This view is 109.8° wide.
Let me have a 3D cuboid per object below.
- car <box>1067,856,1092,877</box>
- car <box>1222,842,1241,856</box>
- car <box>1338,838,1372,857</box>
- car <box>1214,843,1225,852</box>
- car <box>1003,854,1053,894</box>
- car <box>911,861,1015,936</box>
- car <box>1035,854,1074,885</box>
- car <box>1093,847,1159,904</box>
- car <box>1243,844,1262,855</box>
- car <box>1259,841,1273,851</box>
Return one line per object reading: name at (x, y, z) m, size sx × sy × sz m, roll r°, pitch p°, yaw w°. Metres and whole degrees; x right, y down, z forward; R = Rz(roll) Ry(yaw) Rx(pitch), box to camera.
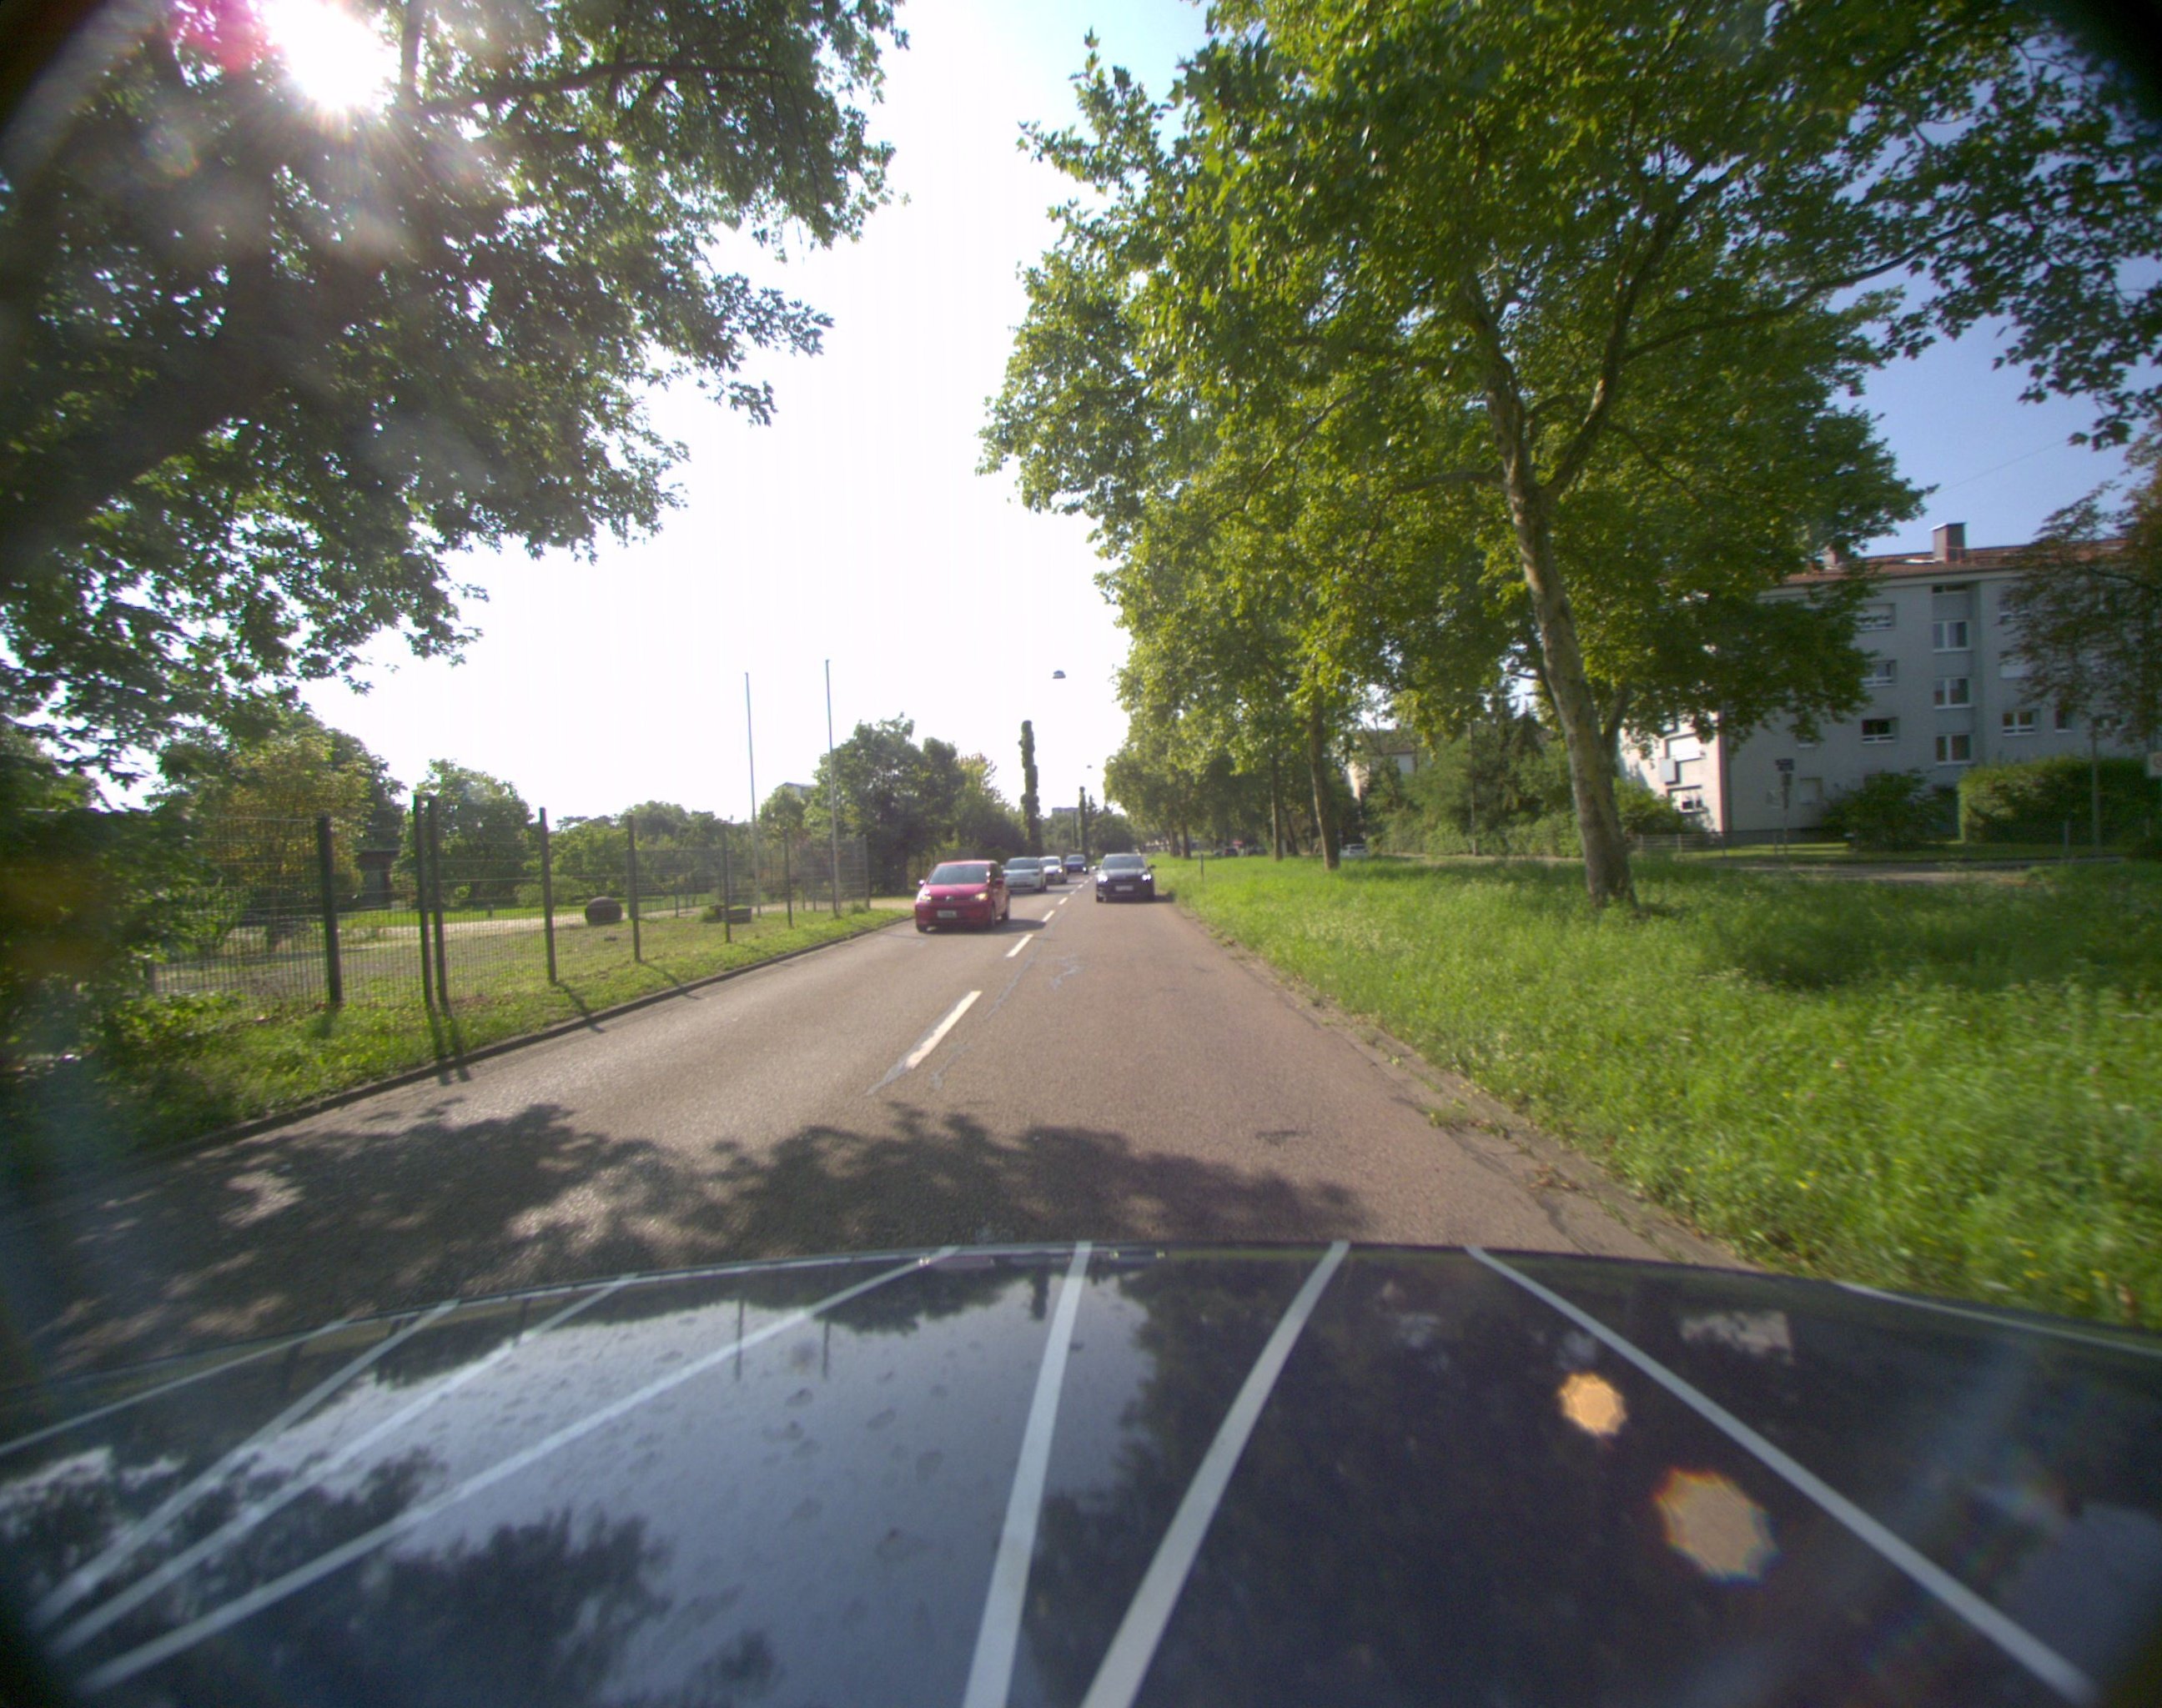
car at (-0.093, 0.931, 59.126) m, size 1.649 × 1.378 × 3.899 m, roll -3°, pitch 1°, yaw 4°
car at (19.425, -0.693, 98.311) m, size 1.779 × 1.607 × 4.857 m, roll -3°, pitch 1°, yaw 4°
car at (22.985, -0.591, 63.879) m, size 1.649 × 1.471 × 3.899 m, roll -3°, pitch 1°, yaw 4°
car at (26.433, -1.232, 145.295) m, size 1.649 × 1.471 × 3.899 m, roll -3°, pitch 1°, yaw 4°
car at (-2.235, 0.815, 32.774) m, size 1.649 × 1.467 × 3.899 m, roll -3°, pitch 1°, yaw 2°
car at (-2.550, 0.923, 17.154) m, size 1.578 × 1.390 × 3.472 m, roll -2°, pitch 1°, yaw 3°
car at (-1.398, 0.791, 41.250) m, size 1.649 × 1.467 × 3.899 m, roll -3°, pitch 1°, yaw 4°
car at (1.450, 0.619, 24.450) m, size 1.862 × 1.572 × 3.612 m, roll -3°, pitch 1°, yaw 4°
car at (22.954, -0.619, 101.656) m, size 1.649 × 1.356 × 3.899 m, roll -3°, pitch 0°, yaw 2°
car at (27.465, -1.188, 112.825) m, size 1.612 × 1.284 × 3.523 m, roll -3°, pitch 1°, yaw 6°
